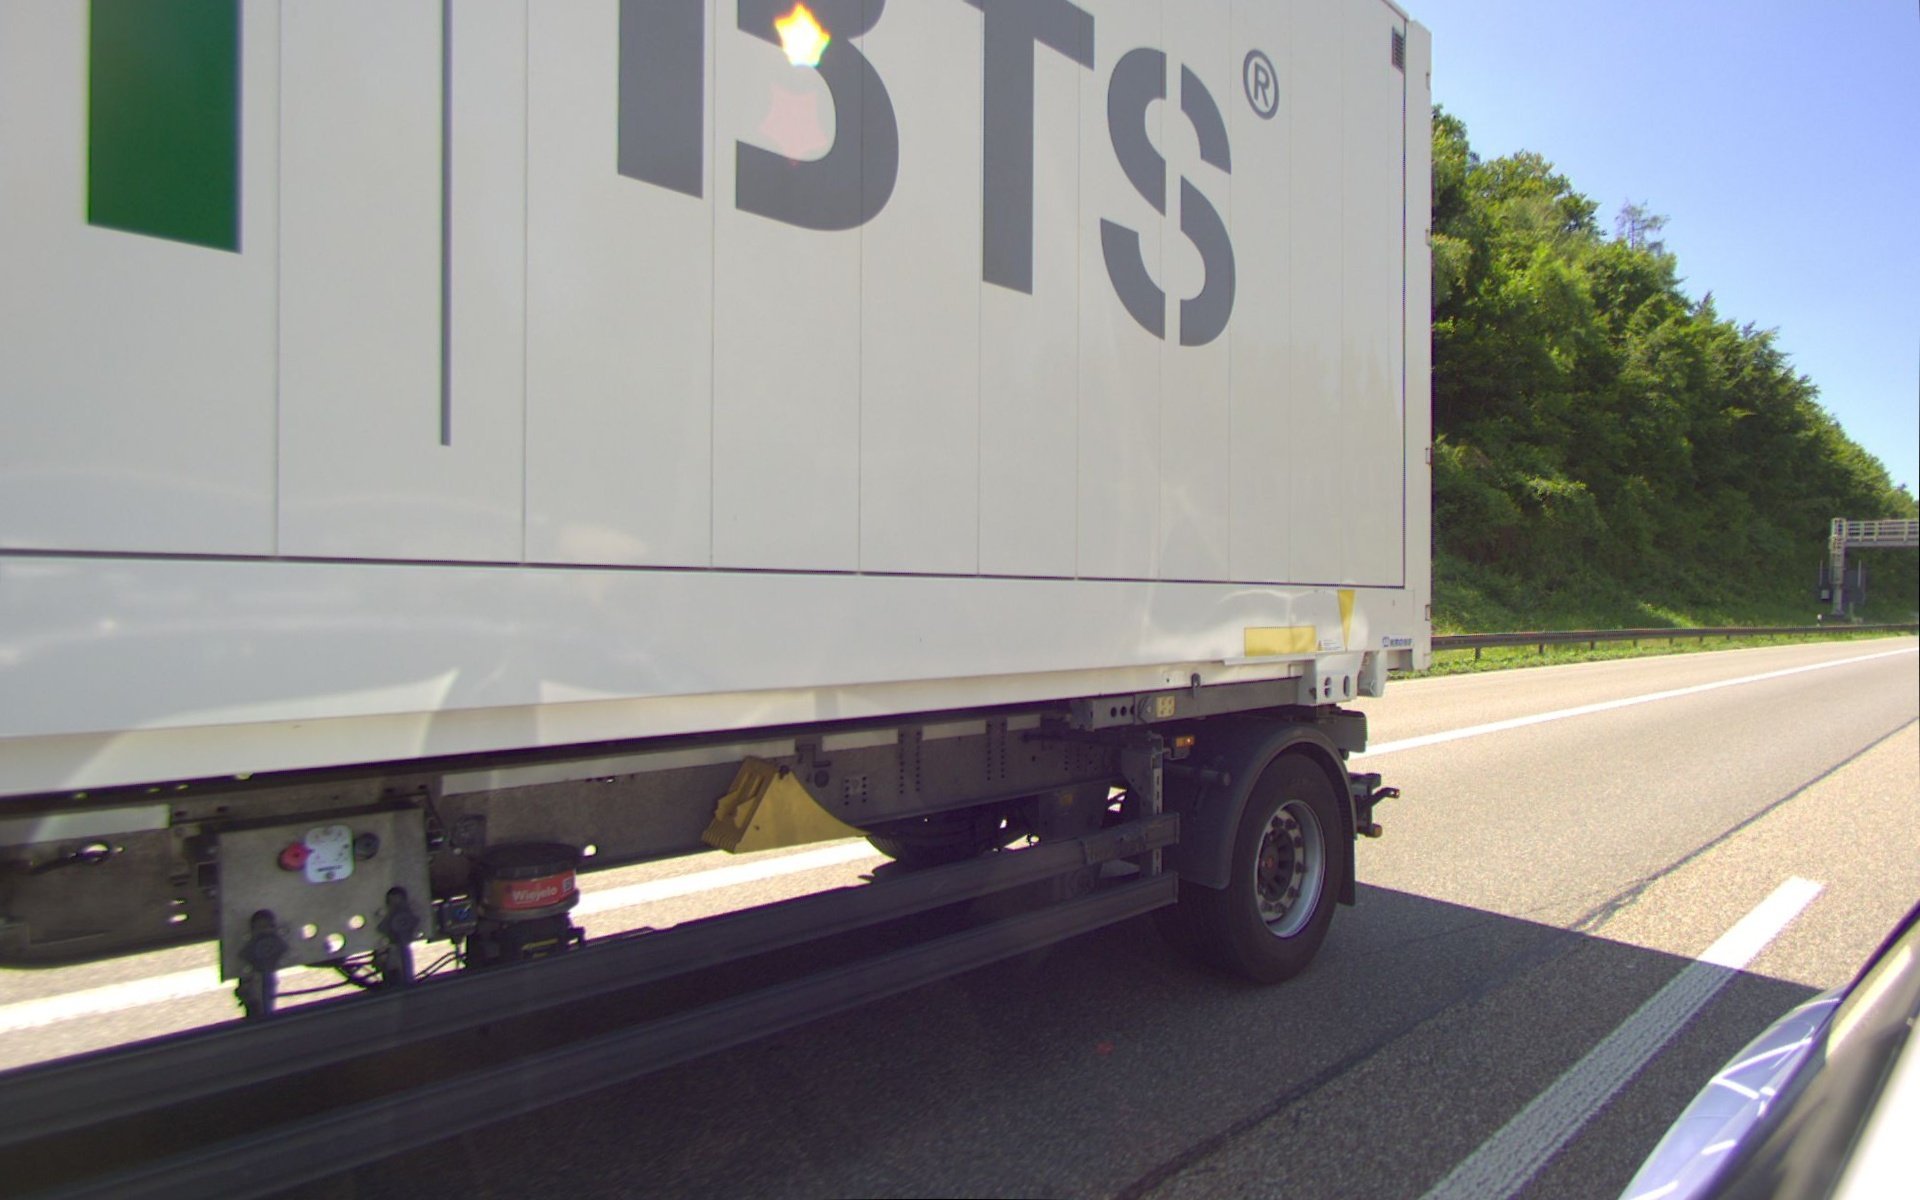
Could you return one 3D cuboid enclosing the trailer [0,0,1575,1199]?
[{"bbox_3d":[-1.169,-0.723,3.354,9.889,4.229,2.684,1,-1,-41],"label":"trailer"}]
